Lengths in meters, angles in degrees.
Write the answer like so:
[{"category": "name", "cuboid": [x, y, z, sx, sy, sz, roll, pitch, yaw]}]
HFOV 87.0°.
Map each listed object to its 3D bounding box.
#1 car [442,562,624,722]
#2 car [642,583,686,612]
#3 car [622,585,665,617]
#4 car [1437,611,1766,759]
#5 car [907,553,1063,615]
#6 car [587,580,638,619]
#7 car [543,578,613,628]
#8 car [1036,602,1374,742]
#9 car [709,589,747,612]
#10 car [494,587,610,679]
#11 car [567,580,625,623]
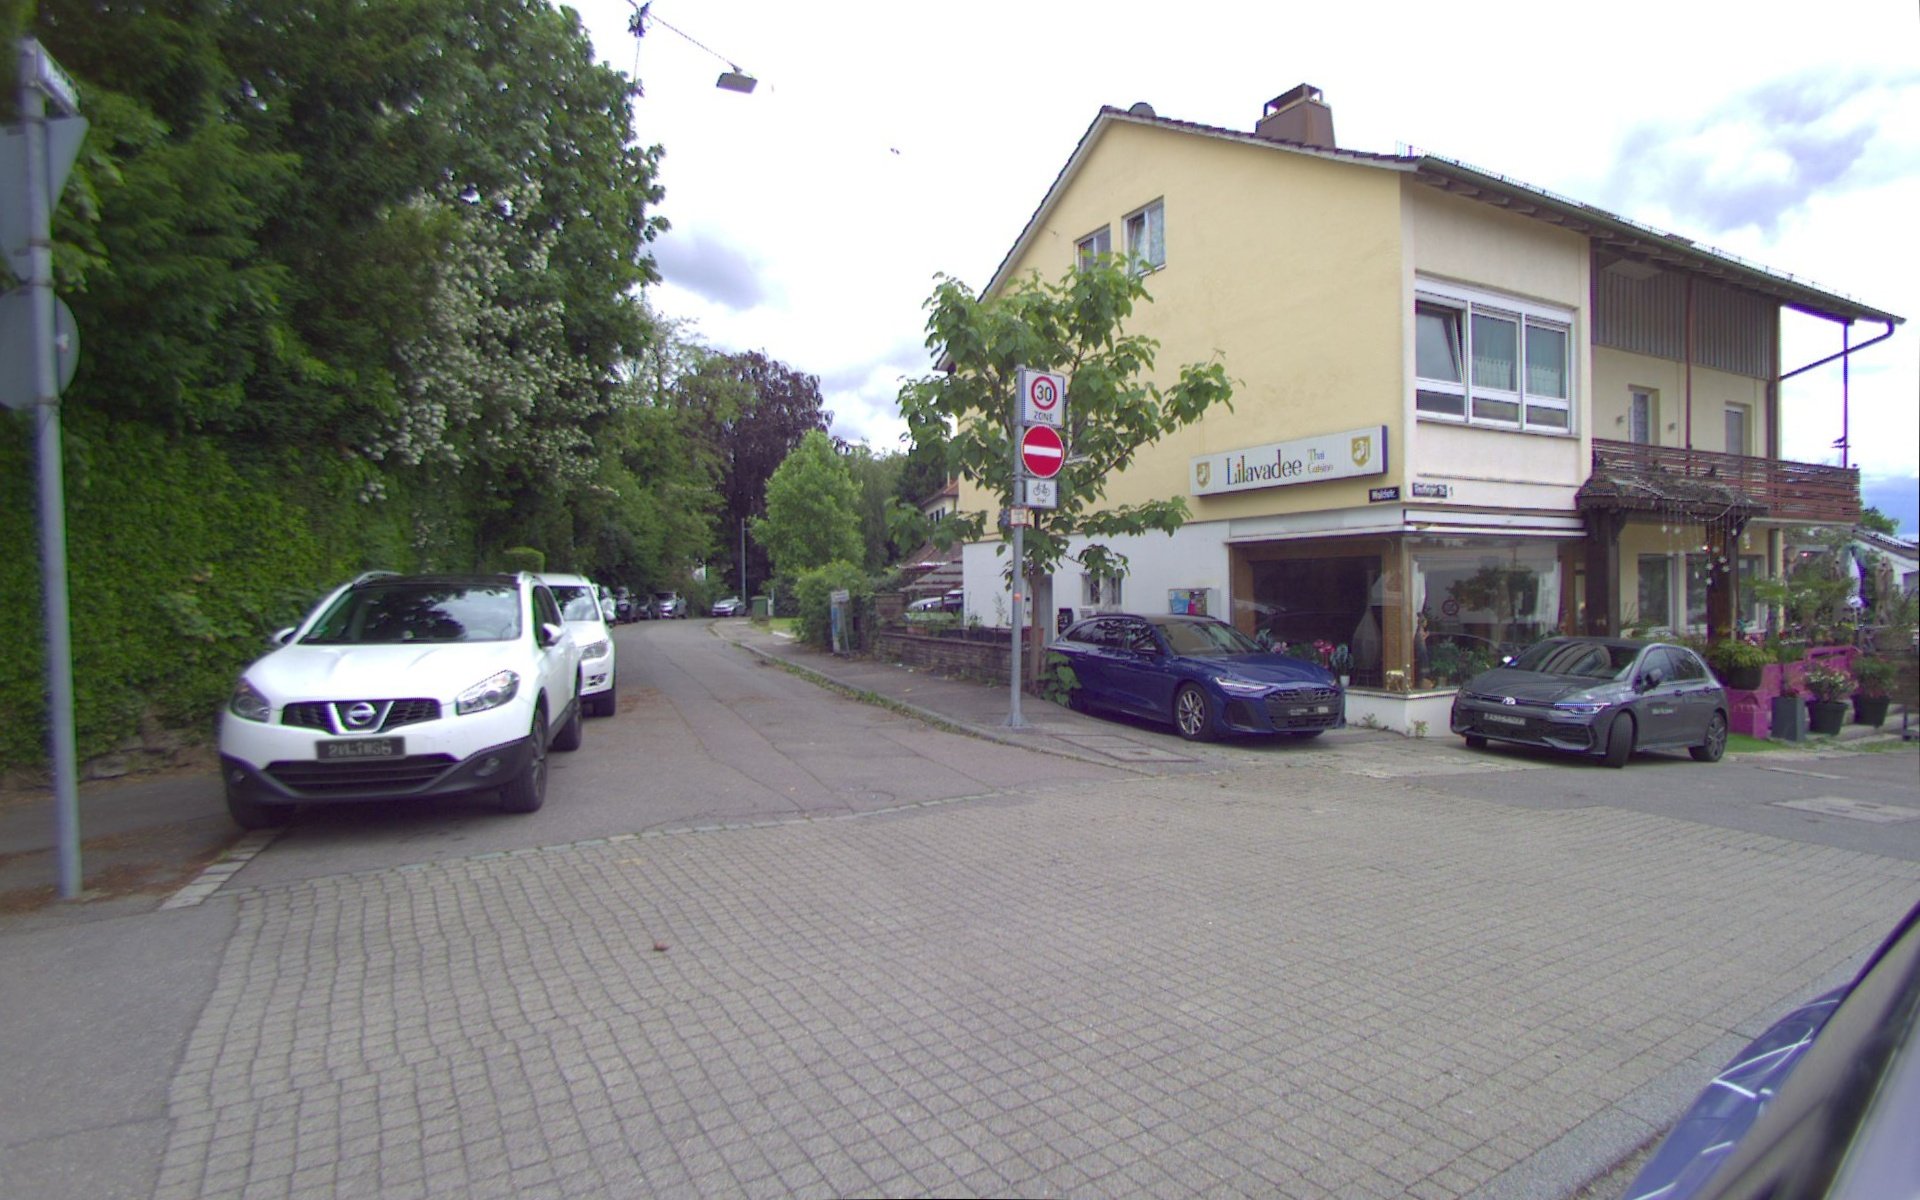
[{"category": "car", "cuboid": [-5.191, 0.397, 12.634, 1.761, 1.643, 4.080, -1, 1, -20]}, {"category": "car", "cuboid": [-16.269, -0.167, 55.816, 1.543, 1.502, 3.476, 0, 1, -3]}, {"category": "car", "cuboid": [-15.944, 0.010, 51.134, 1.542, 1.502, 3.479, -1, 1, -8]}, {"category": "car", "cuboid": [7.928, 1.039, 12.402, 4.242, 1.480, 1.800, 5, -2, -34]}, {"category": "car", "cuboid": [0.737, -0.437, 30.249, 4.235, 1.480, 1.803, 4, -2, -19]}, {"category": "car", "cuboid": [-14.231, -0.053, 41.548, 1.541, 1.502, 3.481, -1, 1, -11]}, {"category": "car", "cuboid": [-12.238, 0.059, 32.614, 1.541, 1.502, 3.745, -1, 1, -11]}, {"category": "car", "cuboid": [2.899, 0.796, 13.239, 1.761, 1.405, 4.758, 2, 0, -23]}, {"category": "car", "cuboid": [-16.381, 0.018, 71.480, 1.547, 1.502, 3.468, 0, 1, 7]}, {"category": "car", "cuboid": [-7.410, 0.514, 18.610, 1.761, 1.441, 4.080, -1, 1, -20]}, {"category": "car", "cuboid": [-13.446, 0.014, 37.568, 1.541, 1.502, 3.481, -1, 1, -11]}]
